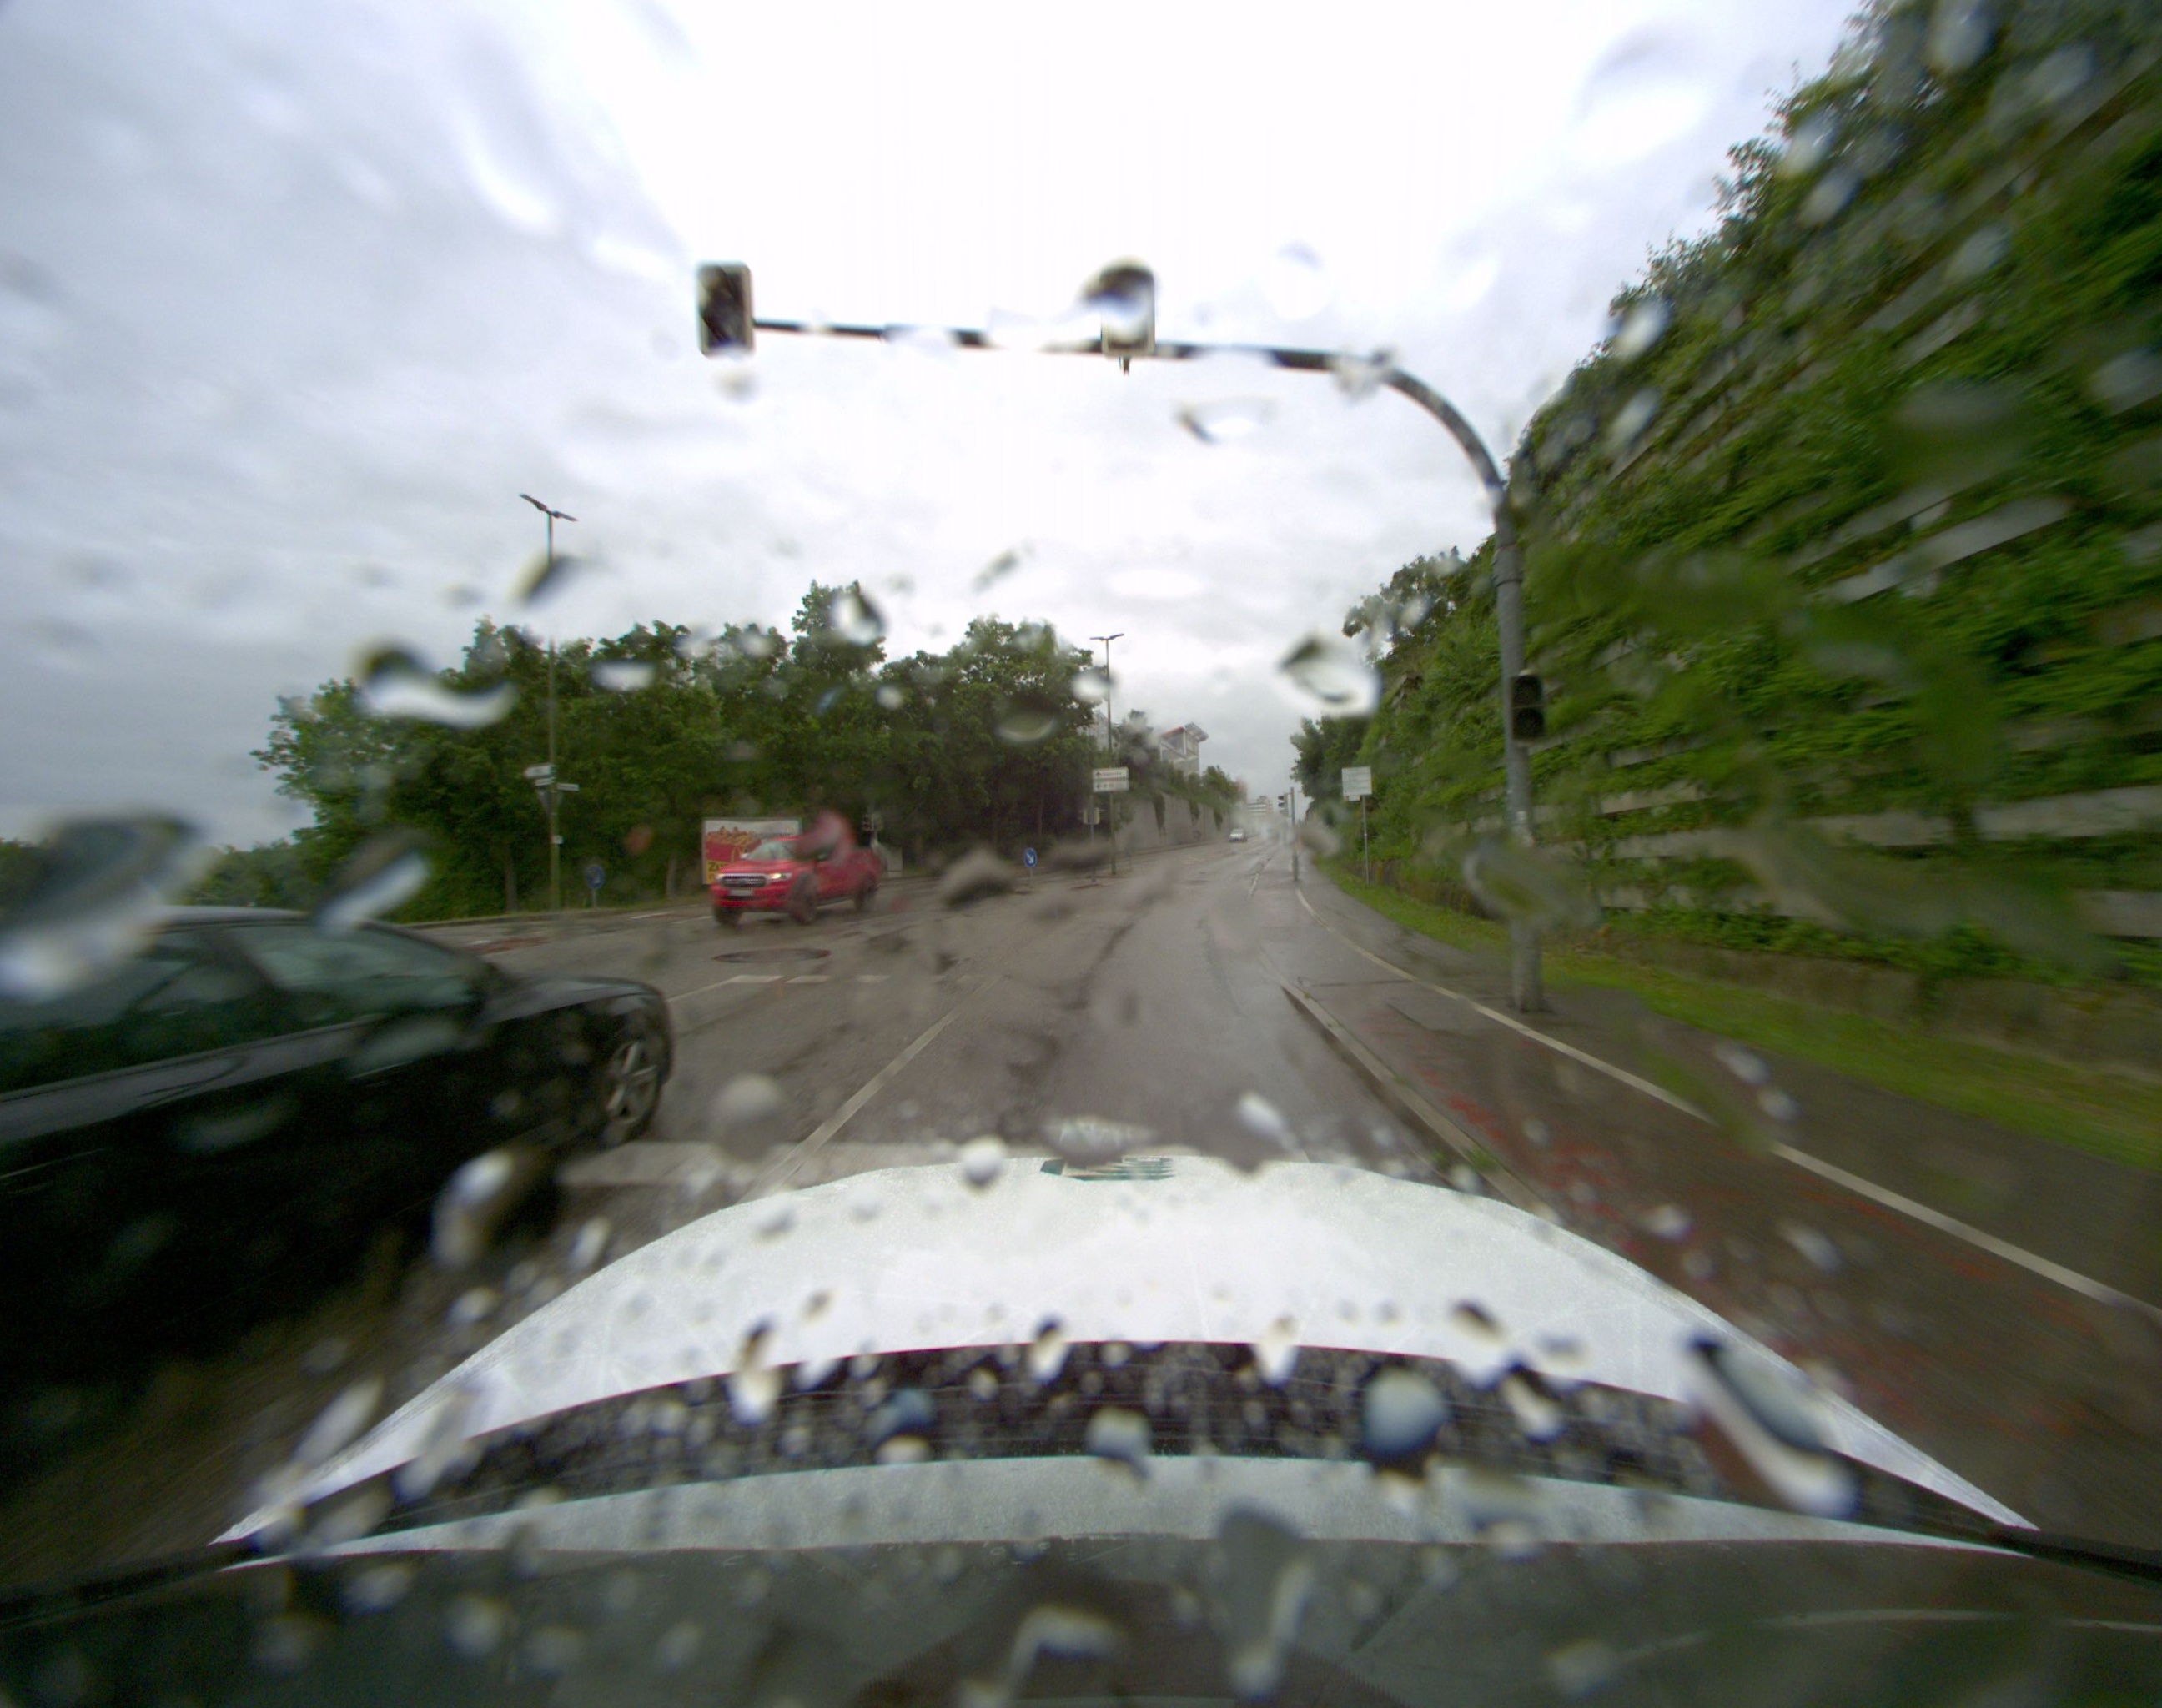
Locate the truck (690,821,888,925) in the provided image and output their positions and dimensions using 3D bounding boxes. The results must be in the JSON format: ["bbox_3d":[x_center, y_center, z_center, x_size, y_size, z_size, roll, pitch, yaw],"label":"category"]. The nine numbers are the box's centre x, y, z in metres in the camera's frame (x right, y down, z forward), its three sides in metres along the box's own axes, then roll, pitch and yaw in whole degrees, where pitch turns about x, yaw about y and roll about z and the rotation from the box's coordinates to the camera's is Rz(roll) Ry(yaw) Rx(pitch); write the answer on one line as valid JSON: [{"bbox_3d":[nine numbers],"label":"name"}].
[{"bbox_3d":[-6.324,0.353,18.506,1.983,2.013,5.349,-1,0,7],"label":"truck"}]

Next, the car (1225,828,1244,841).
[{"bbox_3d":[17.456,-2.213,92.654,1.507,1.448,3.817,-1,0,1],"label":"car"}]

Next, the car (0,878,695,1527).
[{"bbox_3d":[-3.304,0.846,3.039,1.748,1.395,4.000,-1,0,1],"label":"car"}]
